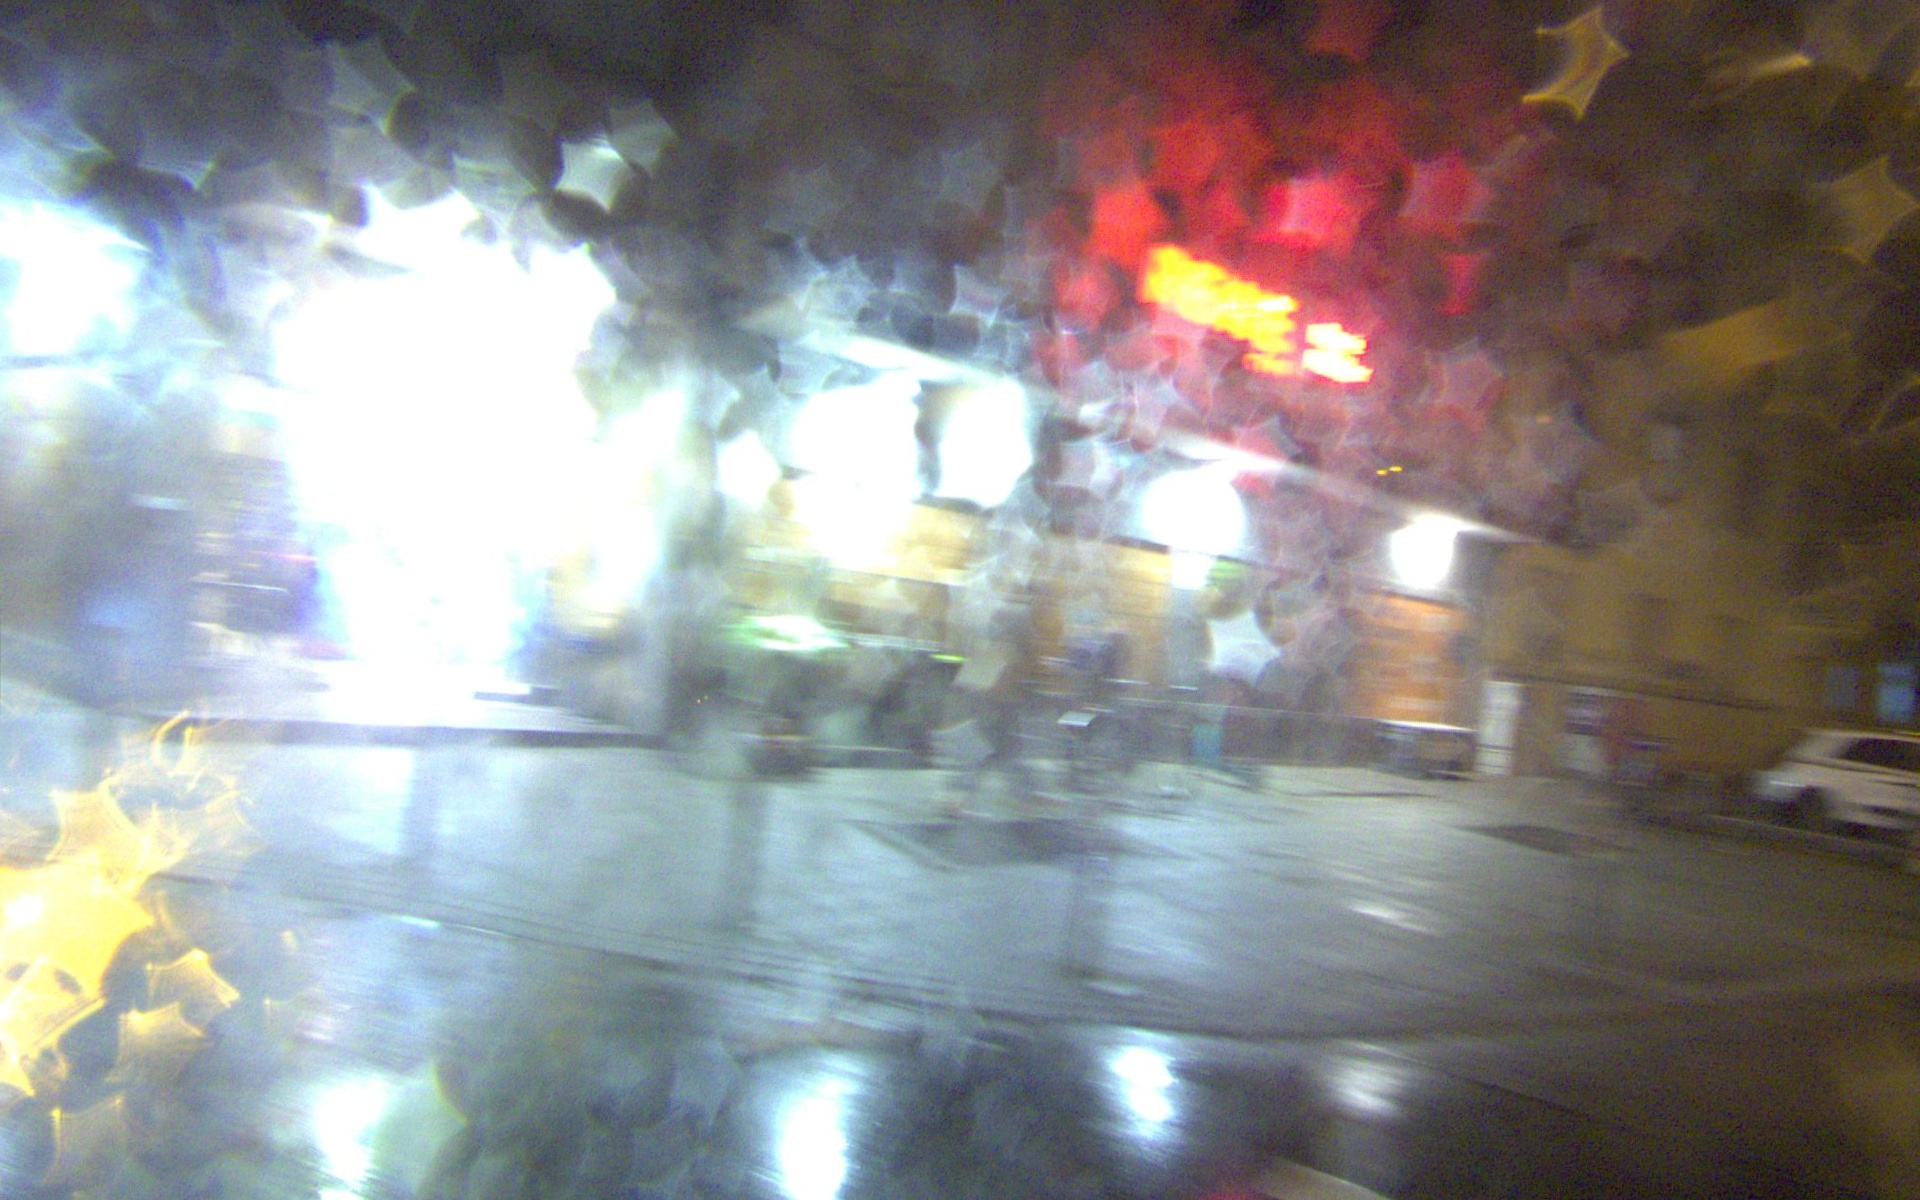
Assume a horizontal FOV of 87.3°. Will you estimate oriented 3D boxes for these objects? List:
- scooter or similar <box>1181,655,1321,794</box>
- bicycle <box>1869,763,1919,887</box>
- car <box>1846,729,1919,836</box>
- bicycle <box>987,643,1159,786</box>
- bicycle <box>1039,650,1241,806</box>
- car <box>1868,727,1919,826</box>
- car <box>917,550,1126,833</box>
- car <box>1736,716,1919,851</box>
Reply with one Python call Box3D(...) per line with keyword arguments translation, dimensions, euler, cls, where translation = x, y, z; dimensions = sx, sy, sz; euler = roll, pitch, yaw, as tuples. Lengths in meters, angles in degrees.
Box3D(translation=(3.071, 1.299, 10.731), dimensions=(0.521, 1.244, 1.303), euler=(8, -1, -28), cls="scooter or similar")
Box3D(translation=(10.067, 2.350, 10.394), dimensions=(0.444, 1.189, 1.965), euler=(6, -3, 28), cls="bicycle")
Box3D(translation=(16.670, 3.117, 15.866), dimensions=(3.631, 1.595, 1.756), euler=(6, -3, 31), cls="car")
Box3D(translation=(1.107, 1.110, 9.614), dimensions=(1.631, 1.186, 0.381), euler=(9, -4, -31), cls="bicycle")
Box3D(translation=(1.578, 1.127, 8.675), dimensions=(1.768, 1.188, 0.381), euler=(8, 0, -31), cls="bicycle")
Box3D(translation=(18.685, 3.348, 17.377), dimensions=(4.038, 1.681, 1.756), euler=(6, -3, 31), cls="car")
Box3D(translation=(0.434, 0.644, 7.261), dimensions=(0.954, 1.863, 0.869), euler=(8, 0, -32), cls="car")
Box3D(translation=(13.765, 2.763, 14.596), dimensions=(3.631, 1.595, 1.756), euler=(6, -3, 31), cls="car")
